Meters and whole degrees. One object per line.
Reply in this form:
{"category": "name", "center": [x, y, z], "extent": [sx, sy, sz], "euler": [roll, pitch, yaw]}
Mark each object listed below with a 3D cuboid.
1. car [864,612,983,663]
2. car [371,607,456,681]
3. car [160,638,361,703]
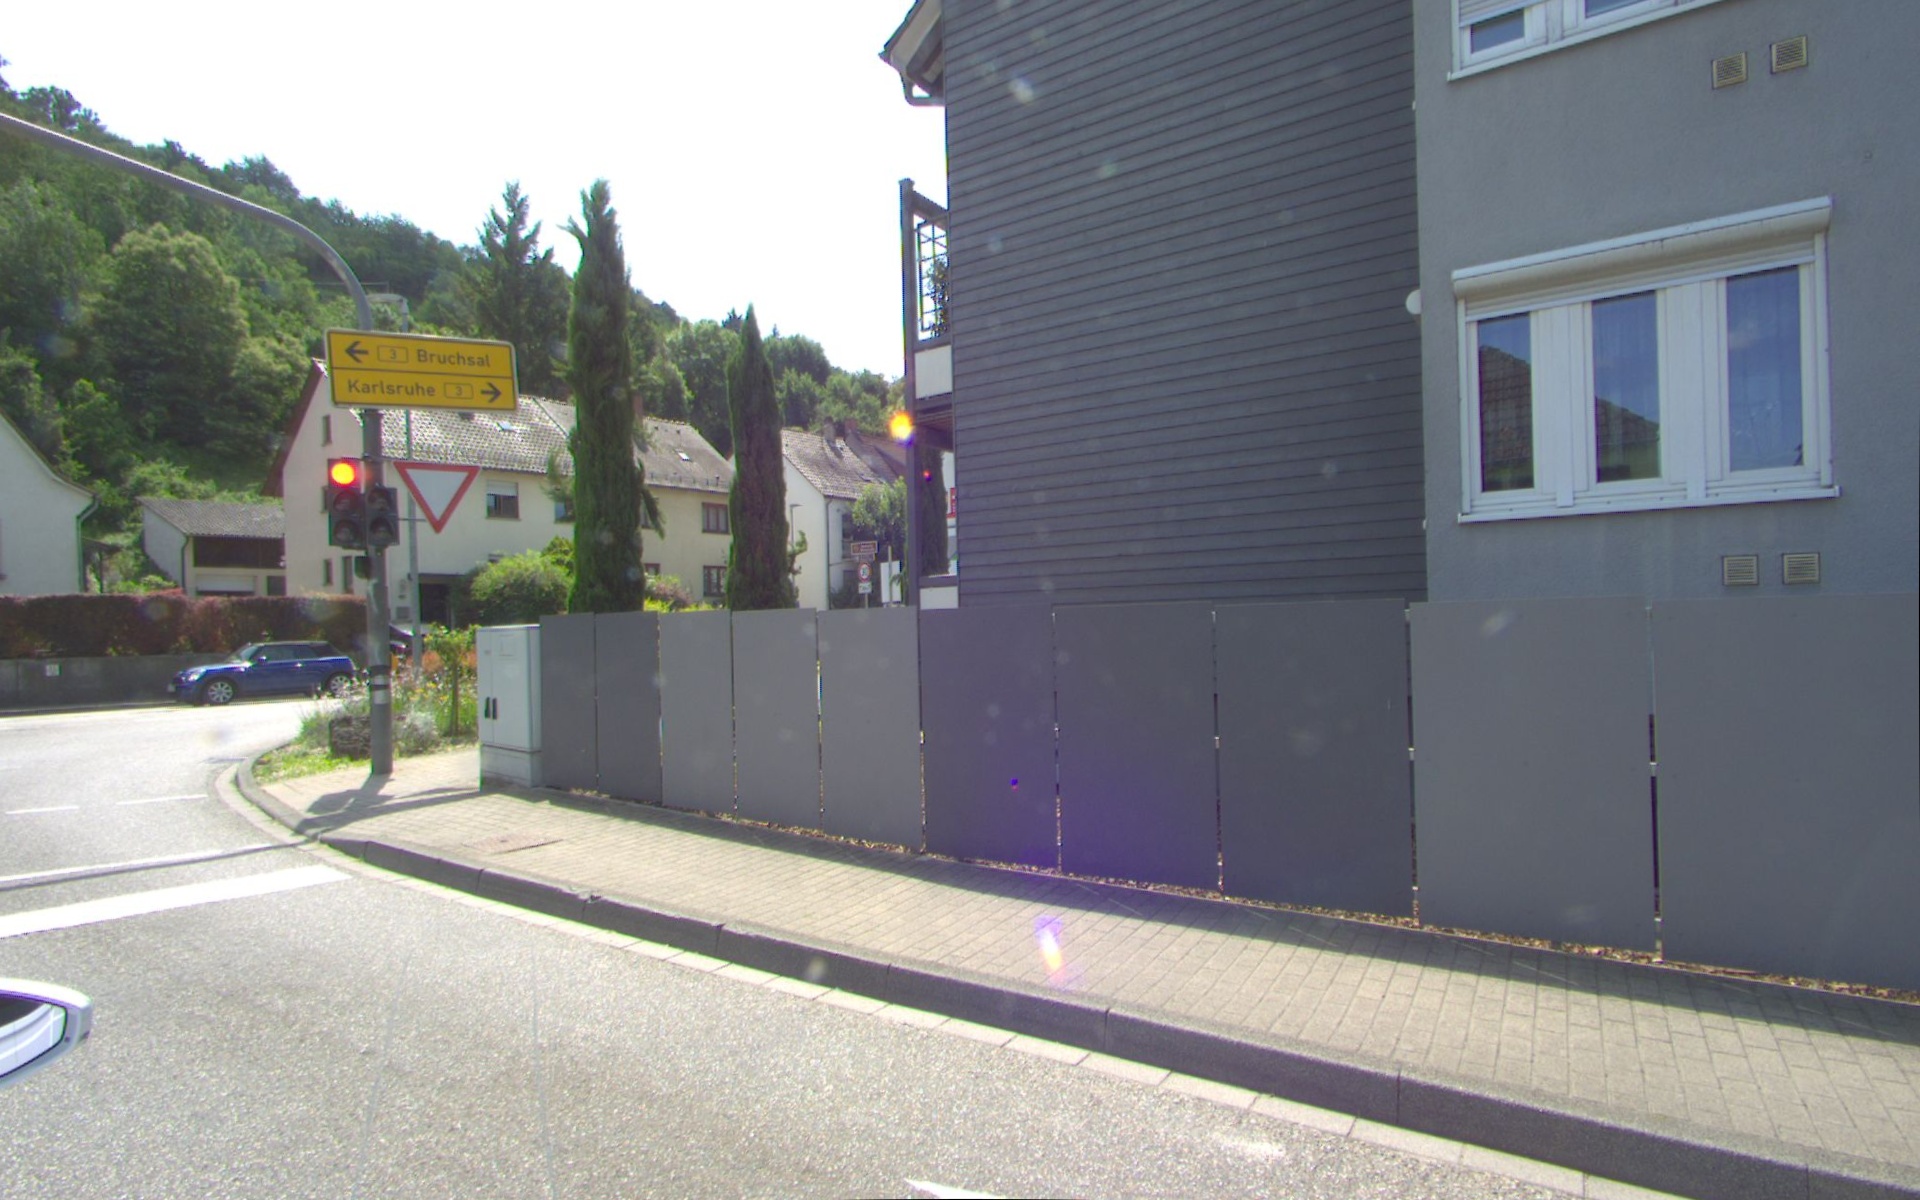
{"category": "car", "center": [-1.353, 1.444, 39.252], "extent": [1.976, 1.844, 4.856], "euler": [-4, -3, 37]}
{"category": "car", "center": [-17.281, 1.320, 31.567], "extent": [1.780, 1.410, 3.650], "euler": [0, 12, -38]}
{"category": "car", "center": [-16.465, 1.630, 23.701], "extent": [1.624, 1.379, 3.597], "euler": [-5, -4, 36]}
